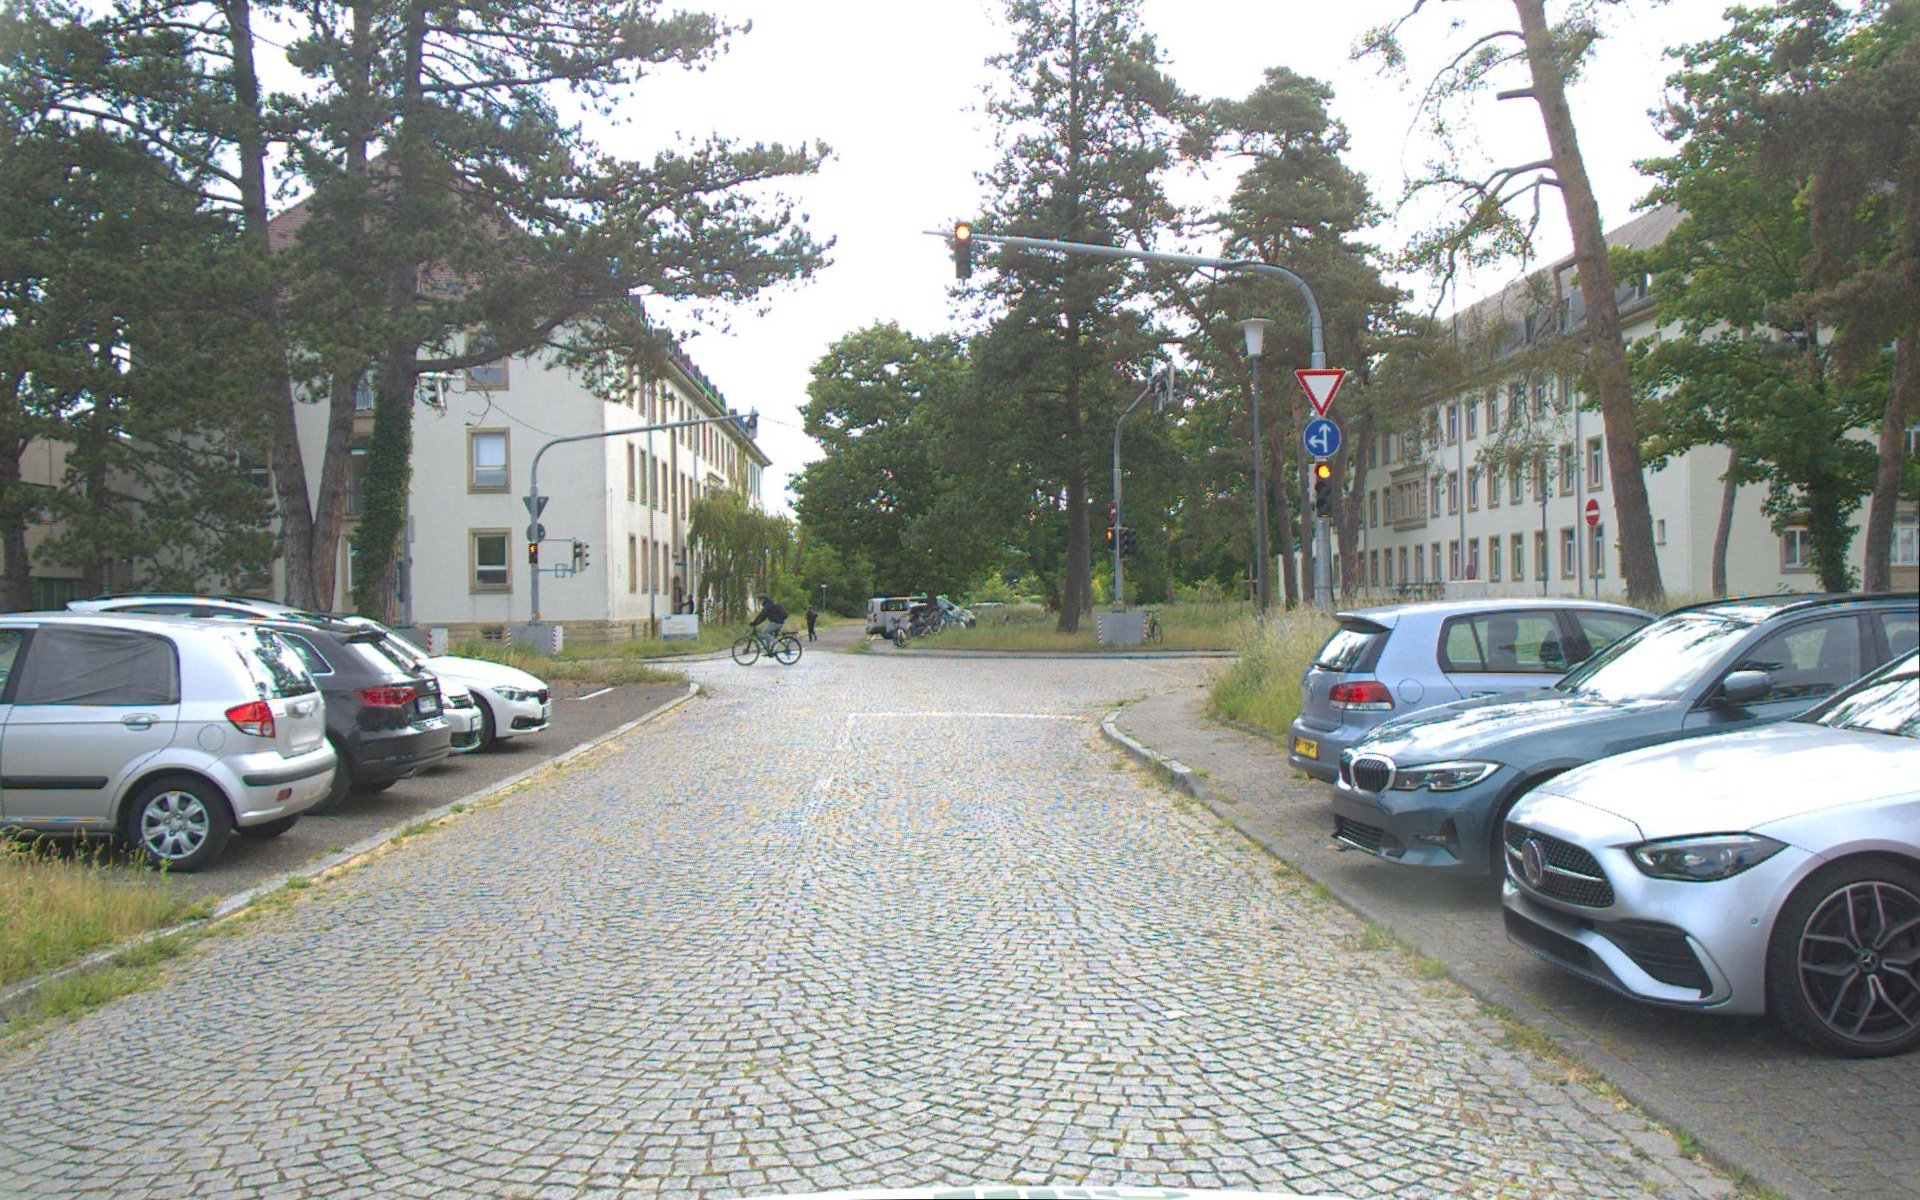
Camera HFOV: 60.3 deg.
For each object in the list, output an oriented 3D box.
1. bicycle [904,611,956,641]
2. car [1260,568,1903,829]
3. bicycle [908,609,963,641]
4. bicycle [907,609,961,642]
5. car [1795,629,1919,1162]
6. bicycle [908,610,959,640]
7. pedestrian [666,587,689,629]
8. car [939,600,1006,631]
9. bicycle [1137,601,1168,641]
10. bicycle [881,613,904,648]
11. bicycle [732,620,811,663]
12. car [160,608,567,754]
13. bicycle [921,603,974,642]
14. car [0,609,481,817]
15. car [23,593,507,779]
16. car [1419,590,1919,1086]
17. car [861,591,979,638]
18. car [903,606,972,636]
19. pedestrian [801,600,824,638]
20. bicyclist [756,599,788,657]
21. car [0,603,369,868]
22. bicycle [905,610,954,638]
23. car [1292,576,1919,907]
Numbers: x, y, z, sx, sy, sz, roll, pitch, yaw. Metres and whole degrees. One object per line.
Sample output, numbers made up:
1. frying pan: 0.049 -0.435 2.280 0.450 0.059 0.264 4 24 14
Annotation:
1. bicycle: -1.131 0.963 62.387 1.936 1.088 0.581 -1 0 -32
2. car: 4.213 0.641 11.627 3.847 1.503 1.642 -3 0 -1
3. bicycle: -0.887 0.906 60.280 1.919 1.152 0.587 -1 0 -9
4. bicycle: -0.972 0.933 60.910 1.919 1.136 0.587 -1 0 -9
5. car: 4.714 0.722 4.238 4.177 1.441 1.870 -3 0 -3
6. bicycle: -1.031 0.965 63.742 1.936 1.088 0.581 -1 0 -32
7. pedestrian: -12.913 0.365 75.531 0.767 1.869 0.732 -1 0 -34
8. car: 0.612 0.759 82.318 3.169 1.441 1.723 -1 0 -5
9. bicycle: 5.622 0.595 48.436 0.574 1.125 1.960 -1 0 -2
10. bicycle: -2.342 1.030 57.022 0.591 1.152 1.958 -1 0 -8
11. bicycle: -4.733 1.045 41.682 1.916 1.042 0.605 -1 0 -3
12. car: -6.484 0.866 18.299 3.869 1.446 1.649 2 0 -3
13. bicycle: -0.474 0.843 61.763 1.919 1.408 0.587 -1 0 -9
14. car: -5.825 0.850 13.003 3.673 1.453 1.581 2 0 -5
15. car: -6.478 0.788 15.762 3.871 1.590 1.648 2 0 -5
16. car: 4.265 0.681 6.489 4.344 1.441 1.866 -3 0 -11
17. car: -1.924 0.685 78.331 5.266 1.958 2.019 -3 0 -11
18. car: -1.026 0.942 74.991 2.949 1.290 1.532 -1 0 -8
19. pedestrian: -6.490 0.853 72.837 0.732 1.647 0.767 -1 0 -34
20. bicyclist: -4.742 0.695 41.683 0.734 1.435 0.605 -1 0 -2
21. car: -5.825 0.786 10.404 3.631 1.505 1.581 2 0 -5
22. bicycle: -1.246 0.963 67.421 1.932 1.088 0.583 -1 0 -27
23. car: 4.378 0.659 9.181 4.590 1.441 1.869 -3 0 -5
